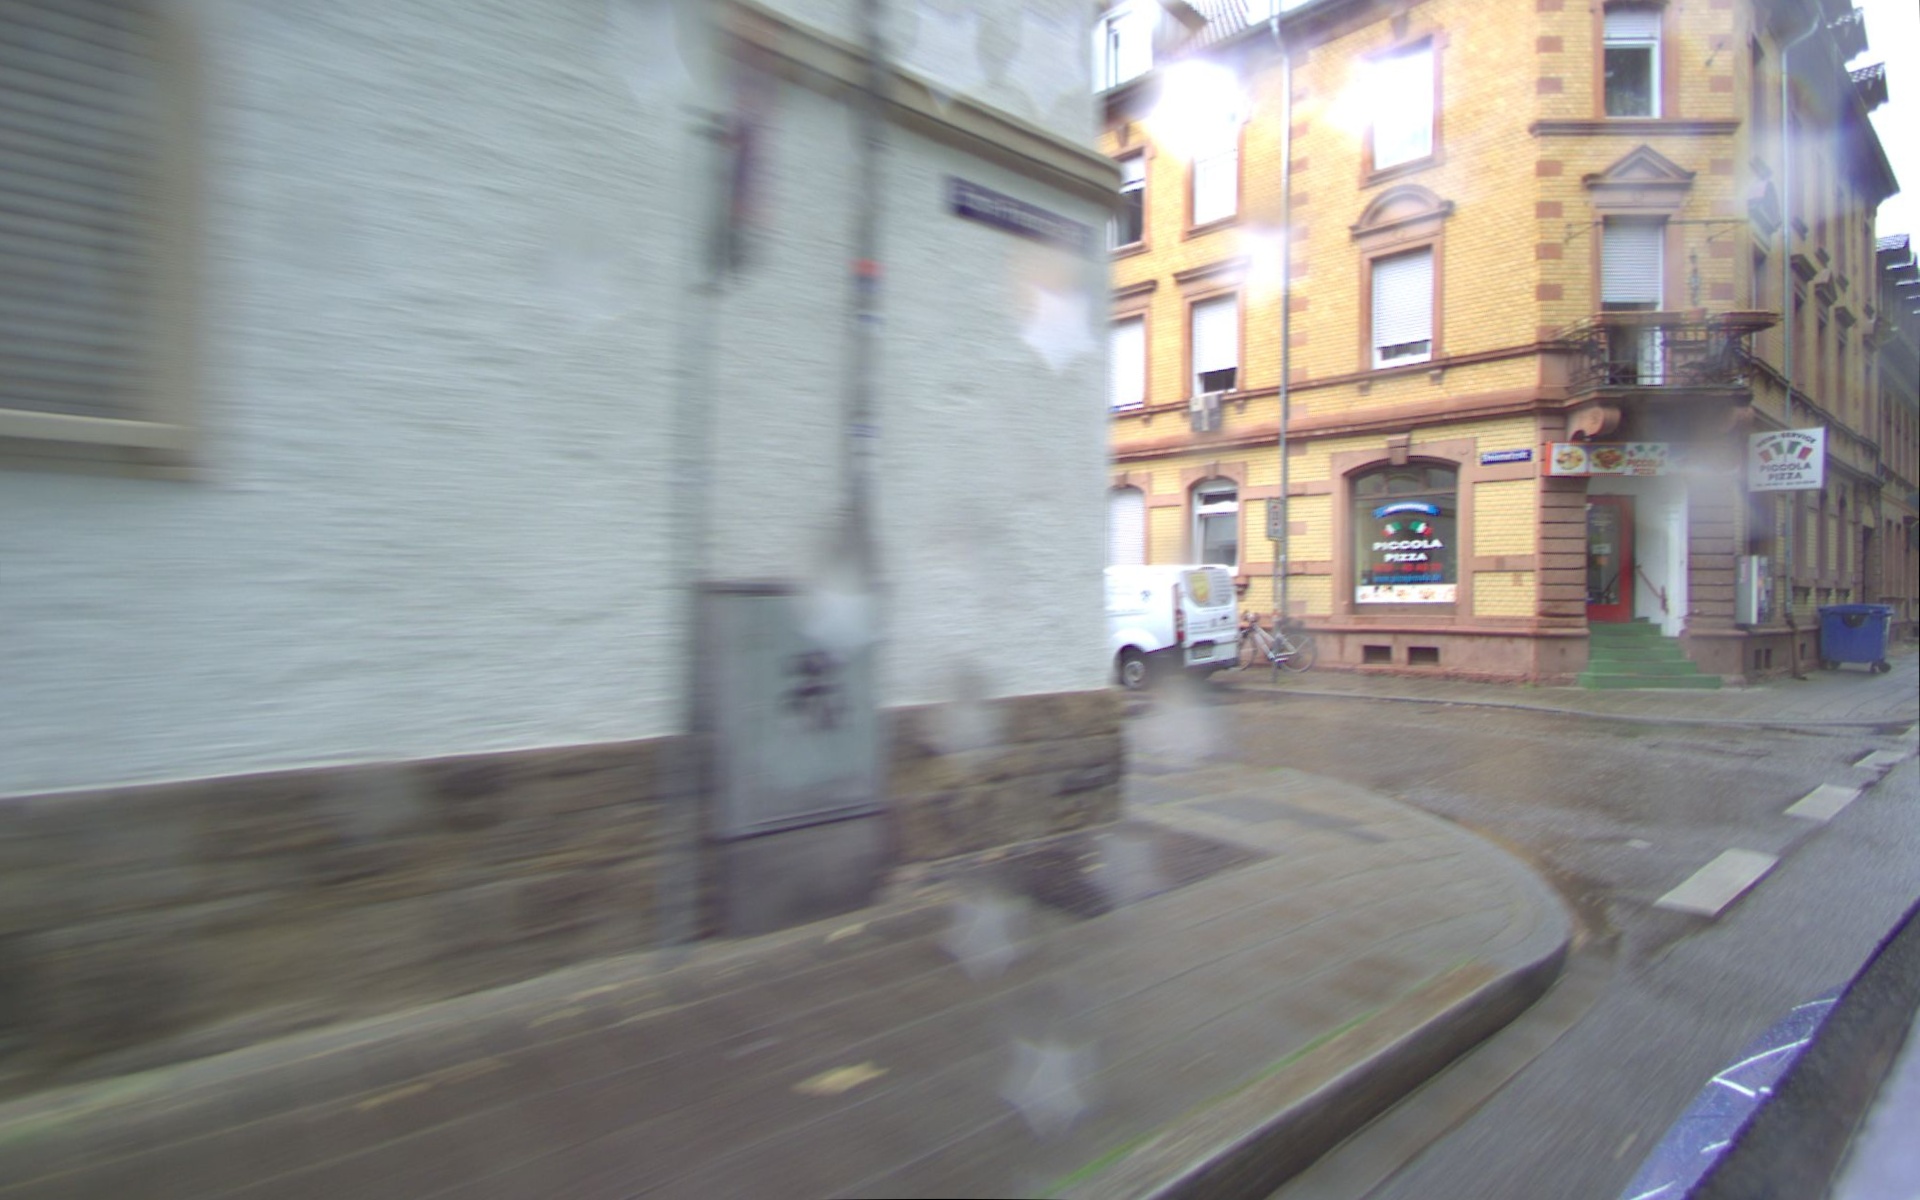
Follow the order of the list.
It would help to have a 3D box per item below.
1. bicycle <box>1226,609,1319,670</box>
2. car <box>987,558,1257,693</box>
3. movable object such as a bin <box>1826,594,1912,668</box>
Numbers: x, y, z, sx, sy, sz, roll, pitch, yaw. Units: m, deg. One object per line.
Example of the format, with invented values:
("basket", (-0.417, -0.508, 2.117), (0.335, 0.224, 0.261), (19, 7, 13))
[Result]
("bicycle", (5.519, 0.680, 17.948), (1.538, 1.020, 0.427), (1, -1, 44))
("car", (2.652, 0.347, 17.235), (1.903, 1.967, 4.231), (-3, 2, -44))
("movable object such as a bin", (17.592, 0.582, 19.574), (1.343, 1.317, 1.023), (1, 2, -41))
